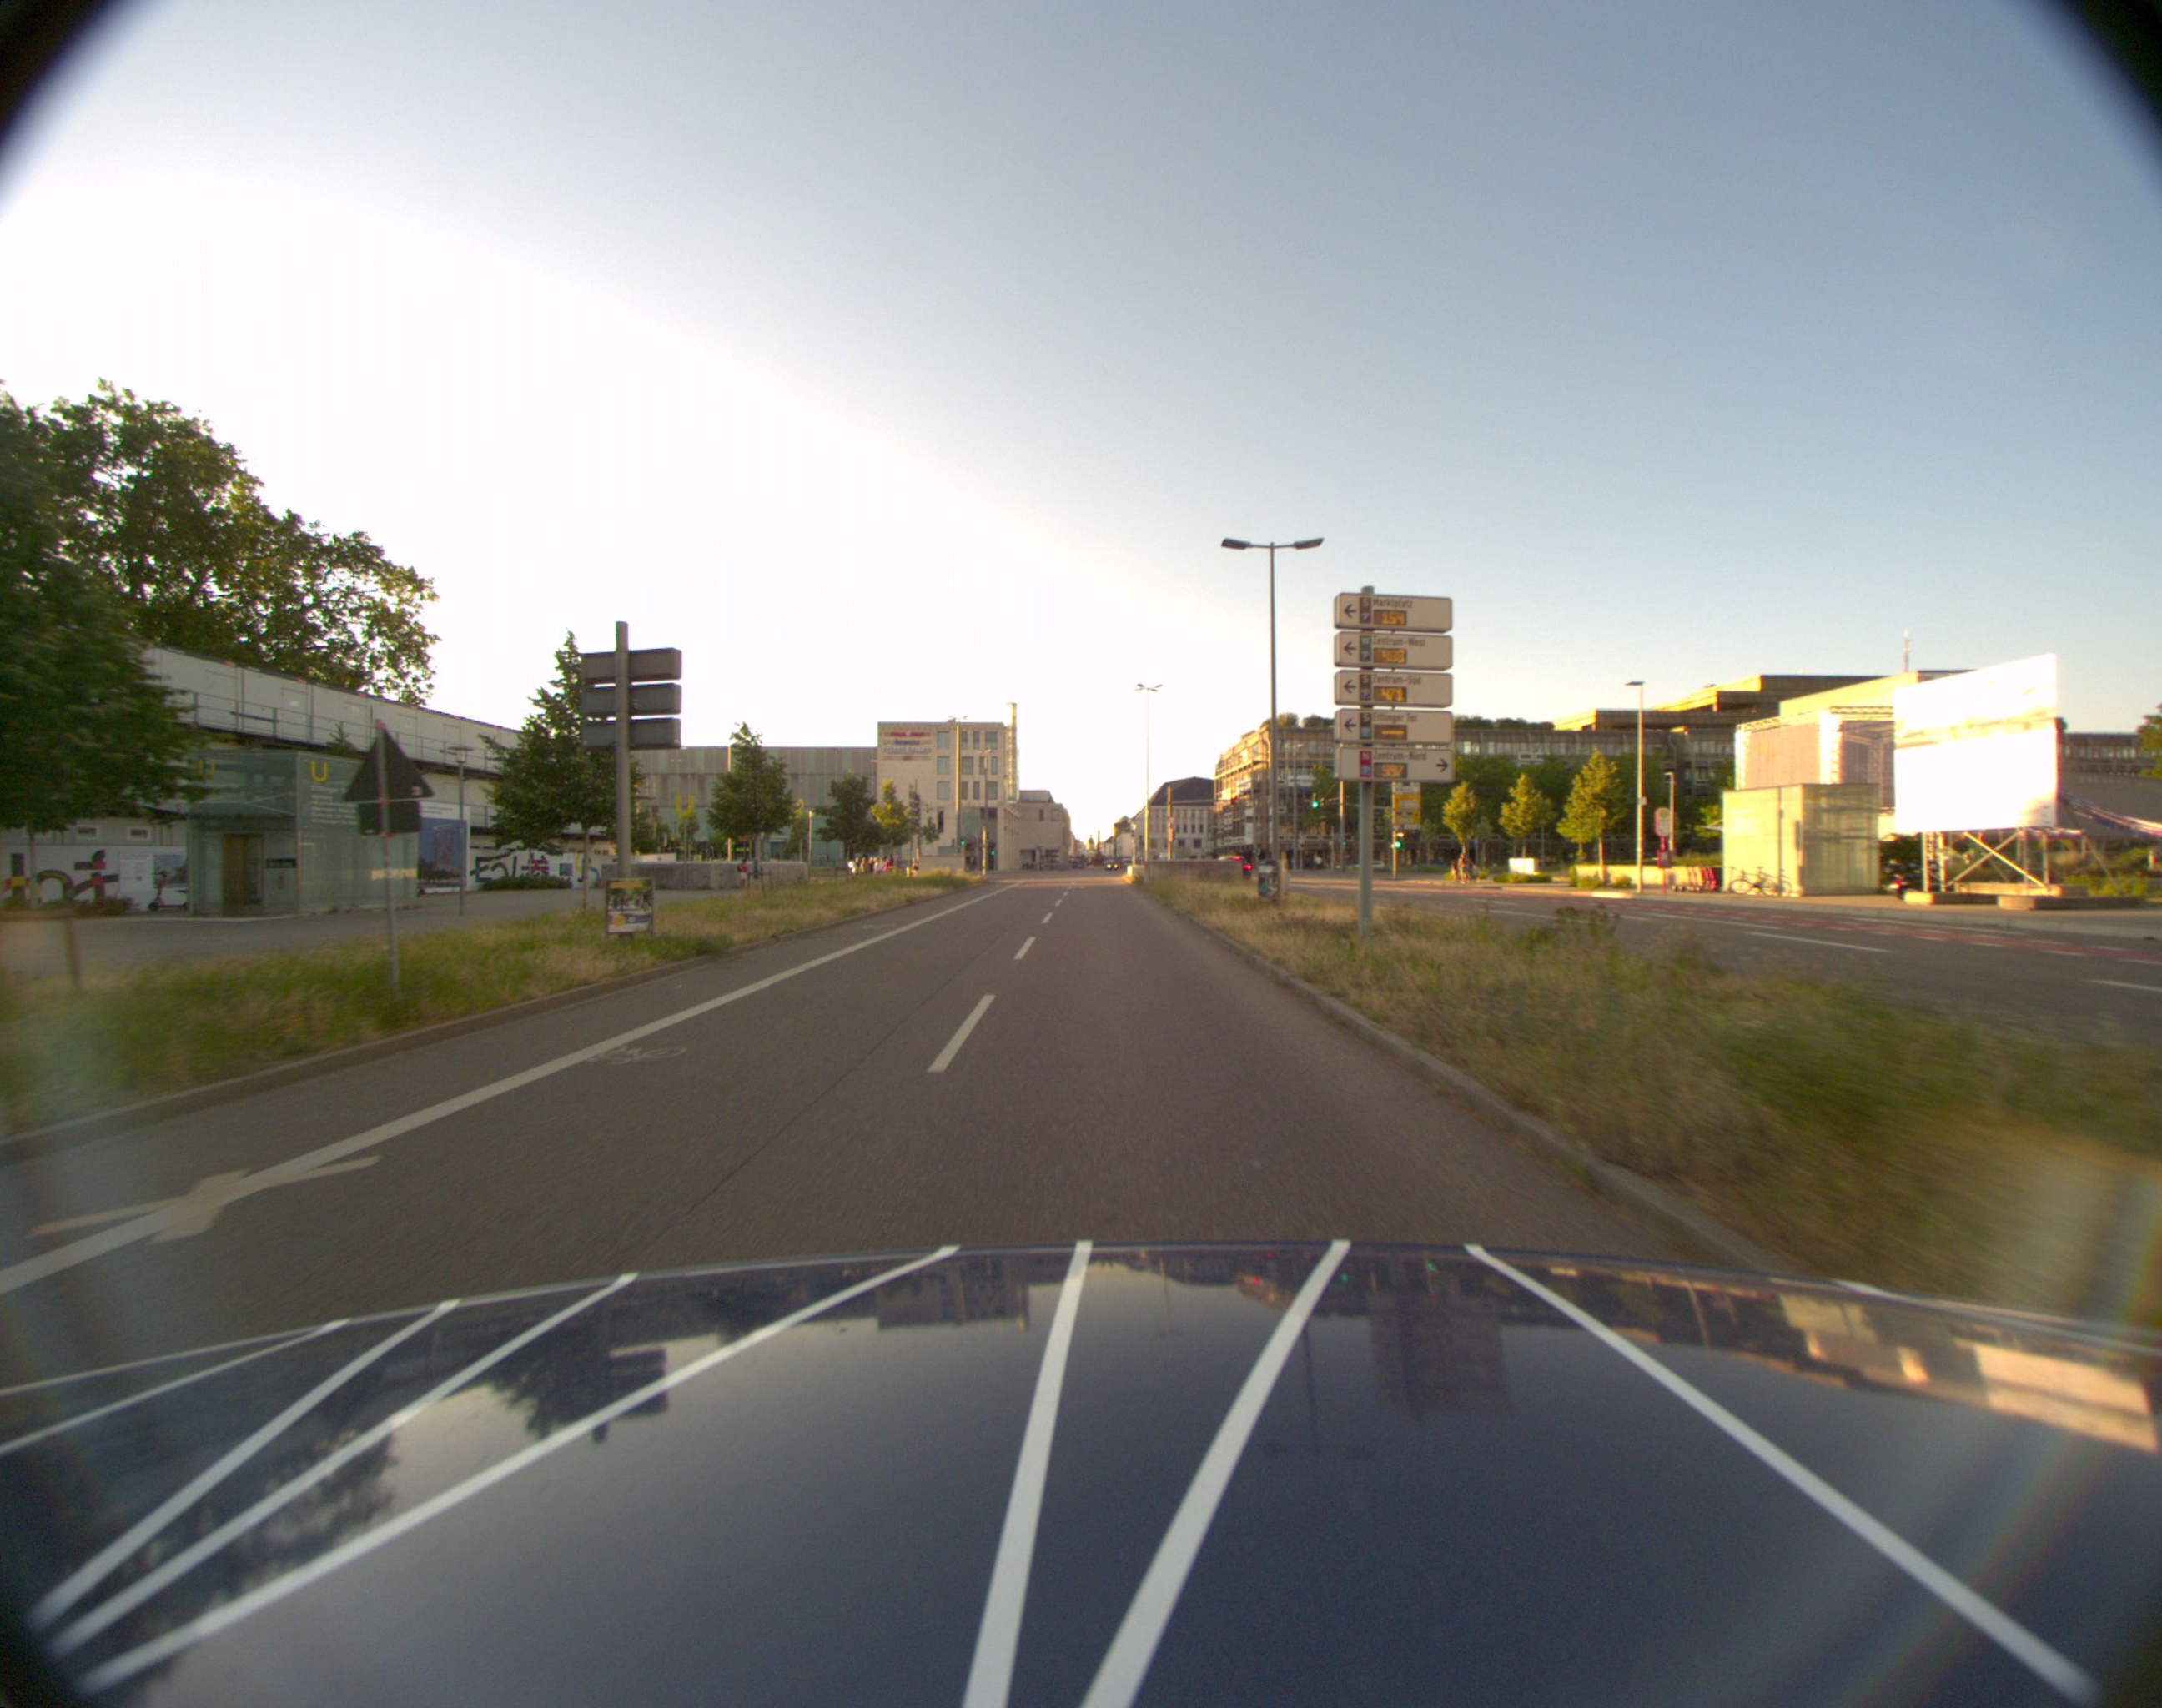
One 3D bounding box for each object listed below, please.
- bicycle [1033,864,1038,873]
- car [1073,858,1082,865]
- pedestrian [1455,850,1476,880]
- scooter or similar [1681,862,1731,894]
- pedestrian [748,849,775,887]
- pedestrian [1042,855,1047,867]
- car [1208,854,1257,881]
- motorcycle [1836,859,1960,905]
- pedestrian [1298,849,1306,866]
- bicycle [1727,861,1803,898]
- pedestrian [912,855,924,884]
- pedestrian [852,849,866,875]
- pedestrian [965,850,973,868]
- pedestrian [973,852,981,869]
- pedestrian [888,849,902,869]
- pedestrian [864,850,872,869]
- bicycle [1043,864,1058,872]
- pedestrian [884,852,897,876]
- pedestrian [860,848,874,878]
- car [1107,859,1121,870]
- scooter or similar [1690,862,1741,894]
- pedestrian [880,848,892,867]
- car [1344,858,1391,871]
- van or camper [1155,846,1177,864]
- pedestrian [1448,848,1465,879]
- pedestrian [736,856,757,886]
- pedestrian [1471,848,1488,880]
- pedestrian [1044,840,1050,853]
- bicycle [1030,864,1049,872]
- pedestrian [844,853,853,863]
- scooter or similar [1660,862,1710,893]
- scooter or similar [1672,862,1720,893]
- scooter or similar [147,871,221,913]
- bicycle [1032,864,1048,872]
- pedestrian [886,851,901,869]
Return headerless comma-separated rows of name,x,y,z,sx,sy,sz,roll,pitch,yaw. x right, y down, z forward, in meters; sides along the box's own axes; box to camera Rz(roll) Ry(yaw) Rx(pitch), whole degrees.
bicycle,-6.798,2.167,113.817,0.619,1.316,2.509,0,0,-1
car,-0.878,1.769,184.466,2.071,1.641,4.001,0,-1,2
pedestrian,23.521,0.647,46.457,0.874,1.826,0.775,0,1,2
scooter or similar,26.048,0.997,31.665,1.836,1.297,0.423,0,1,-6
pedestrian,-15.809,0.694,37.616,0.816,1.804,1.047,0,-1,6
pedestrian,-5.093,0.937,106.184,0.764,1.696,0.834,0,-1,-1
car,8.654,0.760,43.840,1.891,1.457,4.537,0,0,-1
motorcycle,27.008,0.912,25.147,3.241,1.375,0.840,-2,1,-1
pedestrian,24.747,0.426,85.027,0.644,1.920,0.681,0,1,-2
bicycle,26.239,0.955,29.221,0.619,1.316,2.509,0,0,-1
pedestrian,-10.638,0.999,49.559,0.644,1.922,0.619,0,0,1
pedestrian,-14.684,0.505,50.246,0.644,1.702,0.763,0,-1,2
pedestrian,-10.705,0.494,72.583,0.644,1.720,0.871,0,1,3
pedestrian,-9.906,0.613,72.522,0.644,1.650,0.871,0,1,3
pedestrian,-17.975,0.489,73.256,0.892,1.843,1.007,3,2,13
pedestrian,-20.099,0.530,71.717,0.604,1.843,0.586,0,1,4
bicycle,-5.032,2.329,125.770,2.507,1.316,0.619,0,1,0
pedestrian,-13.343,0.708,53.272,0.644,1.703,0.871,0,1,0
pedestrian,-13.597,0.578,48.251,0.644,1.922,0.619,0,1,3
car,4.926,1.551,114.982,2.071,1.641,4.000,0,1,2
scooter or similar,26.082,0.991,31.224,1.841,1.297,0.423,0,1,-6
pedestrian,-18.908,0.351,73.623,0.896,1.843,0.724,2,2,-33
car,35.747,1.330,94.913,5.160,1.575,2.000,0,-1,0
van or camper,12.831,0.247,115.133,2.232,2.650,6.162,0,-1,-3
pedestrian,23.482,0.618,47.501,0.633,1.922,0.775,0,1,-1
pedestrian,-16.701,0.859,37.935,0.762,1.481,0.645,0,-1,1
pedestrian,24.331,0.629,46.385,0.661,1.921,0.648,0,-1,2
pedestrian,-4.798,-1.047,107.291,0.764,1.696,0.834,0,-1,1
bicycle,-6.389,2.163,115.995,2.804,1.208,0.765,0,-1,10
pedestrian,-21.775,0.378,71.241,0.650,0.957,0.654,0,0,-5
scooter or similar,25.951,0.996,32.654,1.864,1.297,0.500,0,1,-6
scooter or similar,26.019,1.003,32.149,1.793,1.297,0.417,0,1,-6
scooter or similar,-27.077,1.134,22.957,1.573,1.213,0.474,-2,1,-2
bicycle,-6.544,2.216,121.073,2.507,1.316,0.619,0,1,0
pedestrian,-17.806,0.561,72.088,0.868,1.714,1.009,3,2,27
